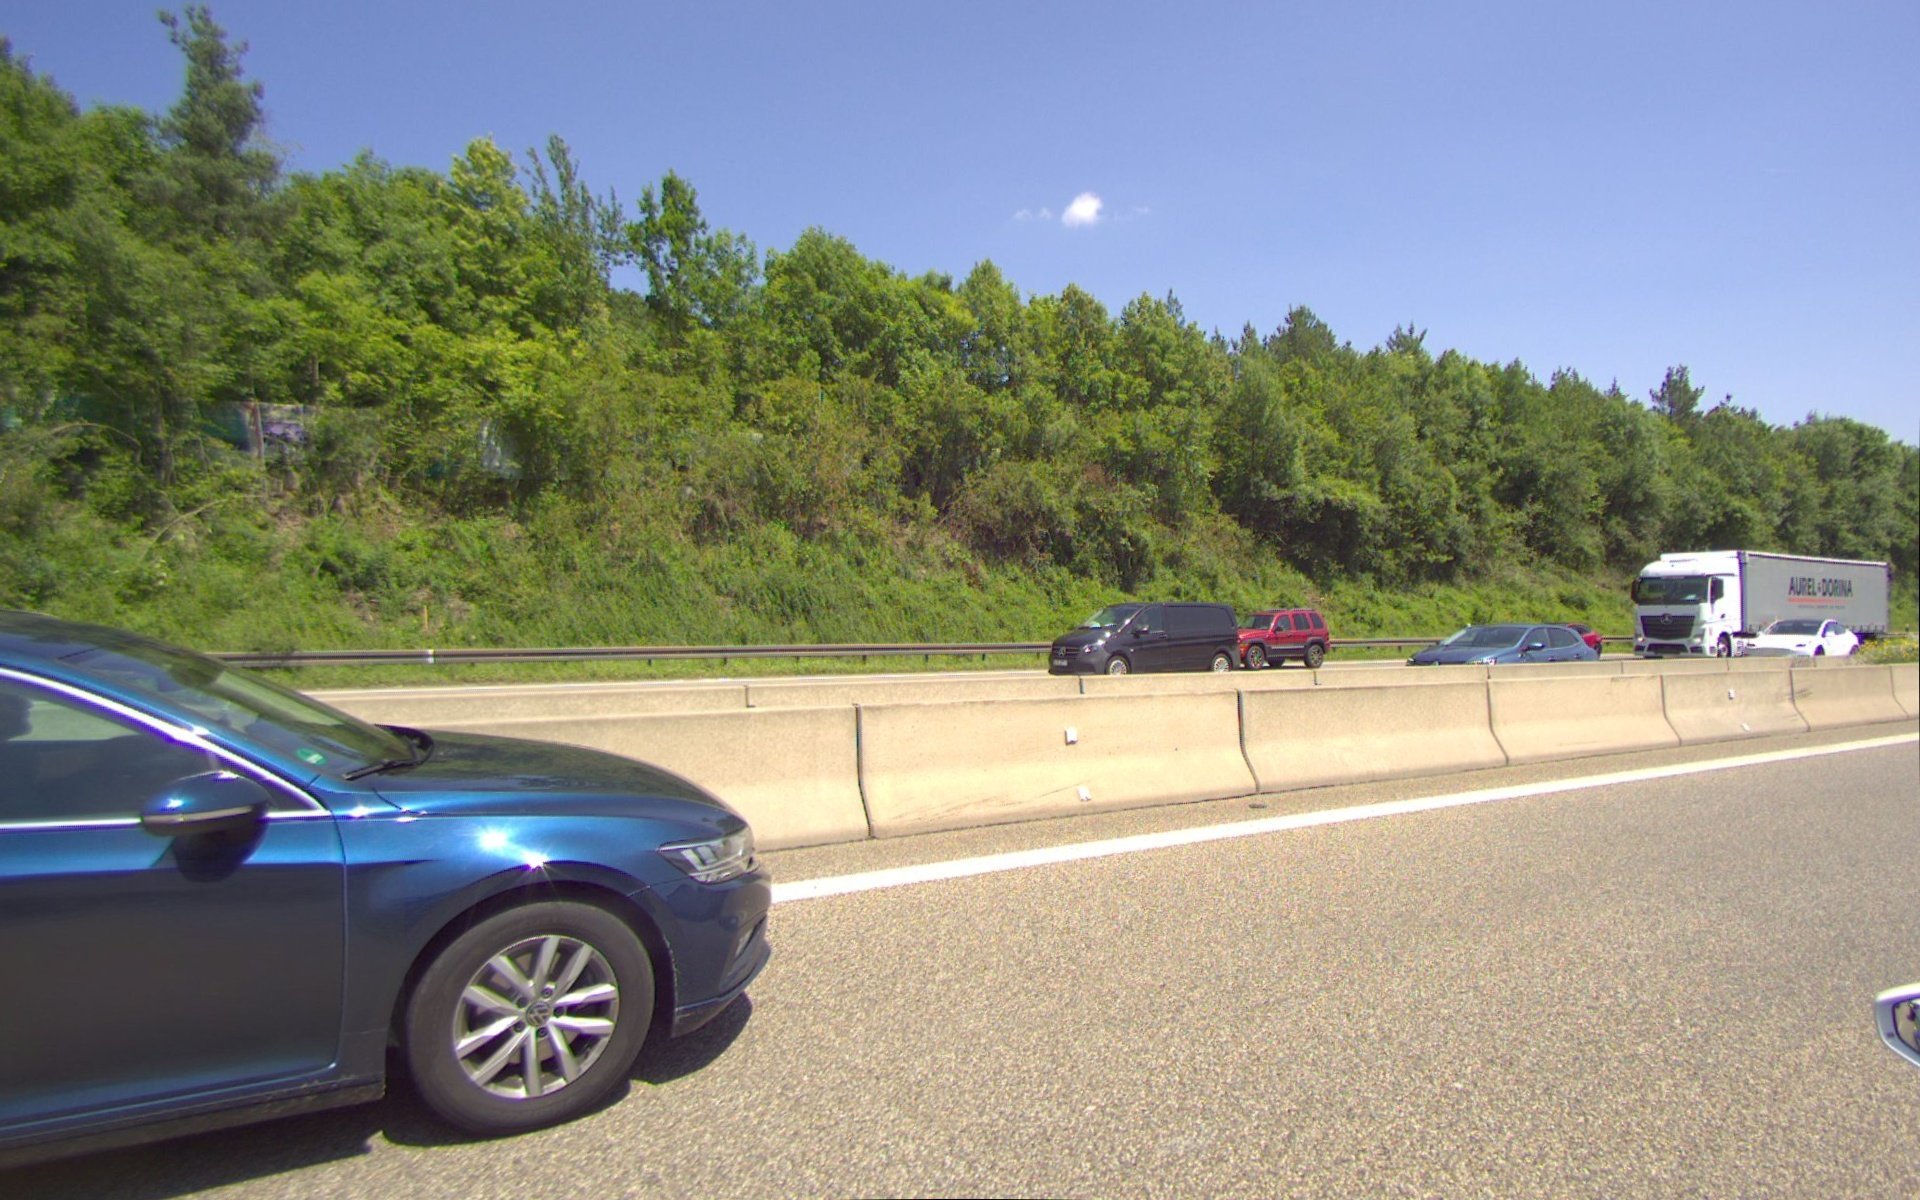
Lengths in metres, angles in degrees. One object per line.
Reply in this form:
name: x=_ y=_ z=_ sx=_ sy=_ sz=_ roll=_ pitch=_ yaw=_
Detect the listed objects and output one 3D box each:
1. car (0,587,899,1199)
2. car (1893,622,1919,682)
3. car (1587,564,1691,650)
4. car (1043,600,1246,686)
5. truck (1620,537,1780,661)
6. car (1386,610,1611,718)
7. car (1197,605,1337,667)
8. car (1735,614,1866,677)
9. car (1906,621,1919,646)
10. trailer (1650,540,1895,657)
car: x=-2.639 y=0.706 z=2.814 sx=4.674 sy=1.446 sz=1.724 roll=1 pitch=-1 yaw=-30
car: x=31.021 y=1.633 z=31.187 sx=3.954 sy=1.817 sz=1.984 roll=2 pitch=-2 yaw=-31
car: x=32.459 y=0.369 z=48.024 sx=4.513 sy=3.925 sz=2.437 roll=1 pitch=-2 yaw=-31
car: x=4.370 y=0.975 z=23.442 sx=4.811 sy=1.833 sz=1.724 roll=1 pitch=-1 yaw=-33
truck: x=27.523 y=0.010 z=37.347 sx=5.594 sy=4.270 sz=2.827 roll=1 pitch=0 yaw=-31
car: x=9.941 y=1.109 z=18.481 sx=4.135 sy=1.795 sz=1.764 roll=1 pitch=-1 yaw=-30
car: x=9.444 y=1.122 z=30.785 sx=4.327 sy=1.774 sz=1.667 roll=2 pitch=-2 yaw=-32
car: x=28.093 y=1.514 z=33.552 sx=4.695 sy=1.975 sz=1.983 roll=2 pitch=-2 yaw=-31
car: x=59.380 y=2.028 z=61.078 sx=4.141 sy=1.486 sz=1.658 roll=1 pitch=-1 yaw=-31
trailer: x=33.342 y=0.184 z=40.862 sx=14.566 sy=4.220 sz=2.822 roll=2 pitch=-2 yaw=-30
